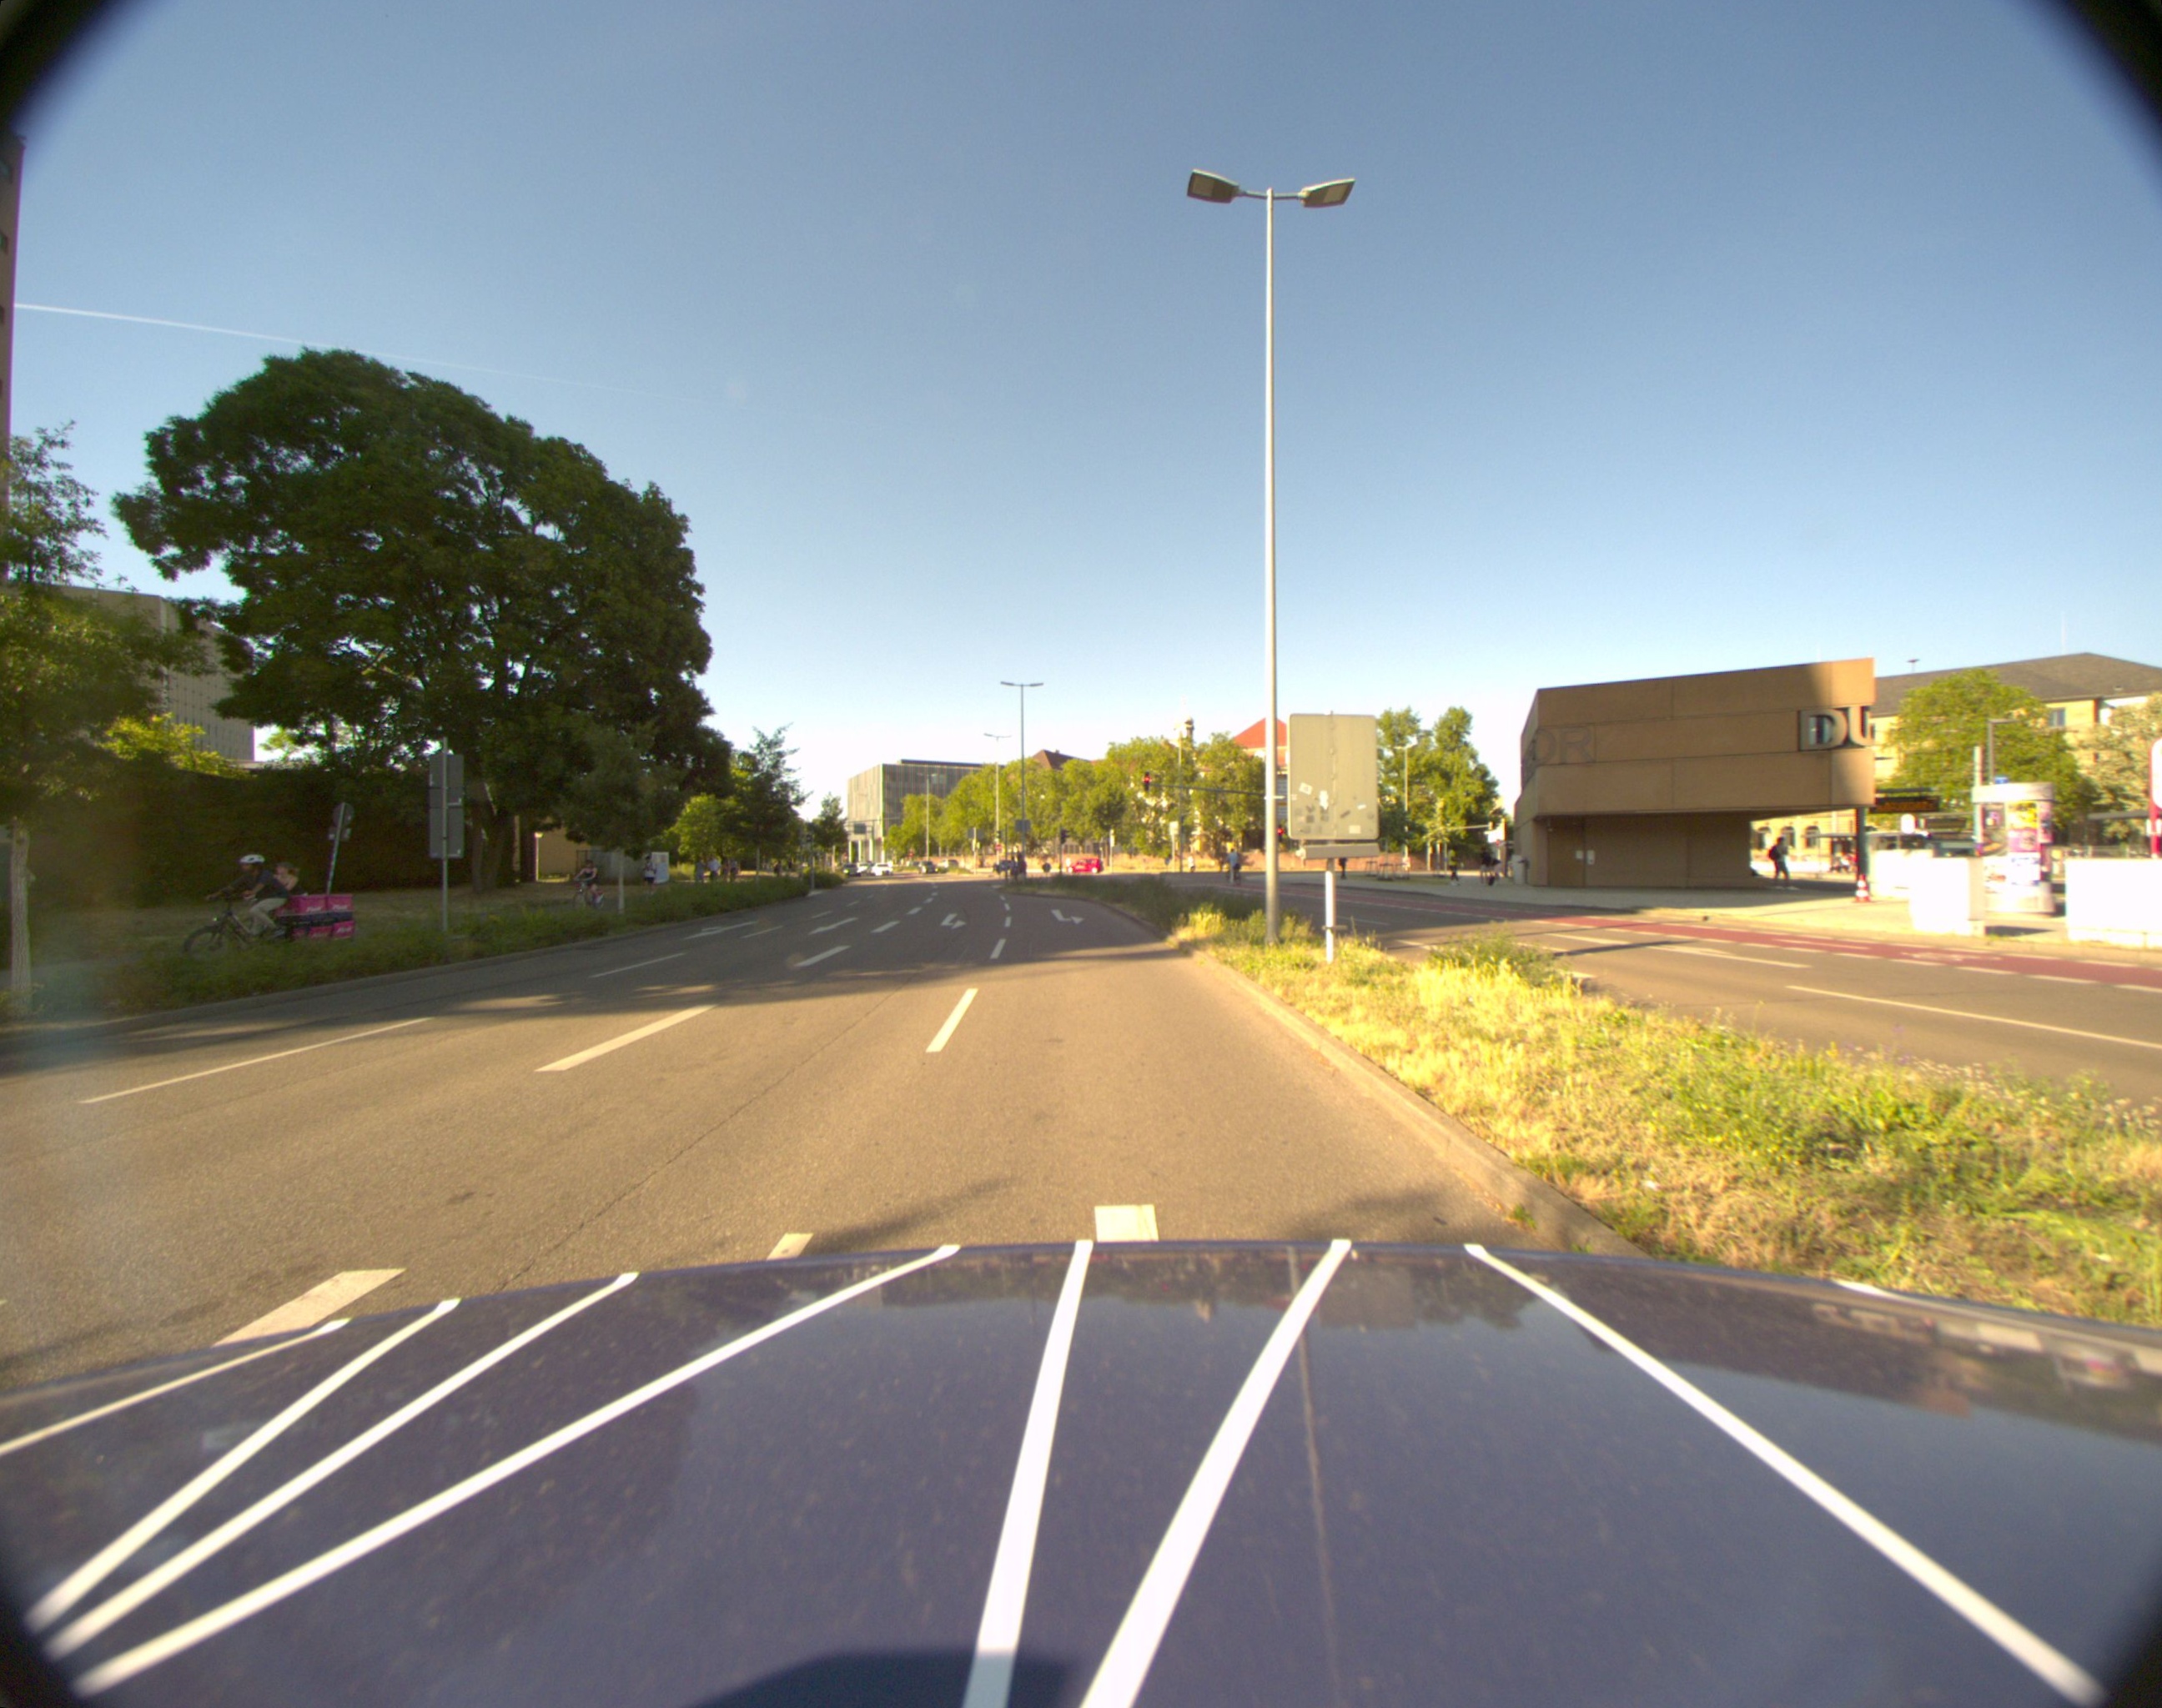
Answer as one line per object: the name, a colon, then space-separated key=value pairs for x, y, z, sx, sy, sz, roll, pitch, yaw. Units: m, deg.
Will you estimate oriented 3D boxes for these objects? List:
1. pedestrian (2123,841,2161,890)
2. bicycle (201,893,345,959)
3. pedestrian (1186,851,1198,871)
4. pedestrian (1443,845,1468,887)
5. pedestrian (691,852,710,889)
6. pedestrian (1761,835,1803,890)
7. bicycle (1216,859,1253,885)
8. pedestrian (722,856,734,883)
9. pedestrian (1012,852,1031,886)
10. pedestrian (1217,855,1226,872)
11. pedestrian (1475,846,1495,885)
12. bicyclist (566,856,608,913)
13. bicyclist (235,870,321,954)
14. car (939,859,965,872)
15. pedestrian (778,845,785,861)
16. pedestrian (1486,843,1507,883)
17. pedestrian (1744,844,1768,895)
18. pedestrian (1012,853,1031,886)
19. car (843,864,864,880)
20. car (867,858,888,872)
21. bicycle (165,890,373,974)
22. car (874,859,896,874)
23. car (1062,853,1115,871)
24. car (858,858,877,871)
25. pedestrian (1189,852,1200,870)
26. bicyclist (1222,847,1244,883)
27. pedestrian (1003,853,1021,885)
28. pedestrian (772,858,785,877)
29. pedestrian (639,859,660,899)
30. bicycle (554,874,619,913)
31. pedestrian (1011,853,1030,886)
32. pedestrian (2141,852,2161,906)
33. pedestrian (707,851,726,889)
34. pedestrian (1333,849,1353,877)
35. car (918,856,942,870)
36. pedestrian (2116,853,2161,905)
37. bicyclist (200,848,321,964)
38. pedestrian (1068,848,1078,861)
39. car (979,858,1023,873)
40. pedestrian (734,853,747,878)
pedestrian: x=42.992 y=0.459 z=30.679 sx=0.814 sy=1.970 sz=0.756 roll=0 pitch=0 yaw=29
bicycle: x=-15.285 y=1.334 z=14.456 sx=0.719 sy=1.114 sz=1.869 roll=-1 pitch=-2 yaw=2
pedestrian: x=10.803 y=0.676 z=73.887 sx=0.873 sy=1.884 sz=0.711 roll=0 pitch=4 yaw=-11
pedestrian: x=16.604 y=0.528 z=33.687 sx=0.718 sy=1.824 sz=0.639 roll=-1 pitch=-1 yaw=2
pedestrian: x=-19.179 y=0.838 z=38.288 sx=0.575 sy=1.858 sz=0.624 roll=0 pitch=1 yaw=27
pedestrian: x=25.880 y=0.309 z=28.067 sx=0.978 sy=1.970 sz=0.720 roll=0 pitch=0 yaw=27
bicycle: x=7.846 y=0.883 z=39.051 sx=0.743 sy=1.248 sz=2.552 roll=-1 pitch=1 yaw=-17
pedestrian: x=-20.626 y=0.896 z=44.429 sx=0.623 sy=1.565 sz=0.638 roll=0 pitch=1 yaw=-24
pedestrian: x=-3.070 y=0.772 z=39.082 sx=0.928 sy=1.731 sz=0.756 roll=-1 pitch=1 yaw=-9
pedestrian: x=13.630 y=0.926 z=73.750 sx=0.791 sy=1.644 sz=0.713 roll=1 pitch=4 yaw=17
pedestrian: x=17.561 y=0.491 z=33.041 sx=0.638 sy=1.678 sz=0.551 roll=-2 pitch=-1 yaw=14
bicyclist: x=-15.976 y=0.962 z=24.599 sx=0.717 sy=1.778 sz=0.849 roll=-2 pitch=1 yaw=-1
bicyclist: x=-15.291 y=1.079 z=14.489 sx=0.717 sy=1.539 sz=0.850 roll=-1 pitch=-1 yaw=1
car: x=-17.089 y=1.474 z=100.488 sx=2.198 sy=1.674 sz=4.597 roll=-1 pitch=0 yaw=-24
pedestrian: x=-32.341 y=-0.109 z=81.986 sx=0.713 sy=1.703 sz=0.732 roll=0 pitch=1 yaw=-24
pedestrian: x=18.373 y=0.418 z=33.645 sx=0.734 sy=1.720 sz=0.666 roll=-2 pitch=-1 yaw=26
pedestrian: x=26.911 y=0.617 z=30.301 sx=0.613 sy=2.001 sz=0.809 roll=-2 pitch=-1 yaw=38
pedestrian: x=-3.198 y=0.804 z=40.681 sx=0.928 sy=1.731 sz=0.787 roll=-1 pitch=1 yaw=-9
car: x=-23.722 y=1.836 z=79.145 sx=1.805 sy=1.510 sz=3.993 roll=0 pitch=0 yaw=-21
car: x=-23.737 y=1.284 z=88.504 sx=1.927 sy=1.510 sz=4.010 roll=0 pitch=0 yaw=-21
bicycle: x=-13.509 y=1.239 z=12.802 sx=0.780 sy=1.149 sz=2.580 roll=0 pitch=0 yaw=-2
car: x=-21.036 y=1.312 z=81.602 sx=1.805 sy=1.510 sz=4.423 roll=0 pitch=0 yaw=-21
car: x=0.737 y=0.755 z=73.365 sx=4.598 sy=1.576 sz=2.198 roll=-2 pitch=-2 yaw=15
car: x=-26.593 y=1.310 z=94.550 sx=1.927 sy=1.510 sz=4.010 roll=0 pitch=0 yaw=-21
pedestrian: x=10.917 y=0.649 z=73.077 sx=0.873 sy=1.665 sz=0.711 roll=0 pitch=4 yaw=-11
bicyclist: x=7.811 y=0.542 z=39.103 sx=0.743 sy=1.821 sz=1.012 roll=-1 pitch=1 yaw=-17
pedestrian: x=-3.813 y=0.796 z=41.853 sx=0.928 sy=1.731 sz=0.756 roll=-1 pitch=1 yaw=-9
pedestrian: x=-27.991 y=1.216 z=70.398 sx=1.020 sy=1.739 sz=0.848 roll=0 pitch=0 yaw=-30
pedestrian: x=-18.400 y=1.050 z=32.425 sx=0.623 sy=1.689 sz=0.629 roll=0 pitch=1 yaw=-16
bicycle: x=-15.960 y=1.238 z=24.588 sx=0.719 sy=1.115 sz=2.066 roll=-2 pitch=1 yaw=-1
pedestrian: x=-3.196 y=0.796 z=39.862 sx=0.928 sy=1.731 sz=0.756 roll=-1 pitch=1 yaw=-9
pedestrian: x=39.652 y=0.921 z=27.682 sx=0.978 sy=1.970 sz=0.720 roll=0 pitch=0 yaw=29
pedestrian: x=-18.376 y=0.795 z=38.332 sx=0.575 sy=1.858 sz=0.624 roll=0 pitch=1 yaw=27
pedestrian: x=15.994 y=0.538 z=46.417 sx=0.900 sy=1.675 sz=0.747 roll=-1 pitch=0 yaw=-9
car: x=-16.534 y=0.981 z=83.270 sx=1.927 sy=1.510 sz=4.010 roll=0 pitch=0 yaw=-21
pedestrian: x=40.705 y=0.937 z=29.107 sx=0.994 sy=1.970 sz=0.831 roll=0 pitch=0 yaw=29
bicyclist: x=-13.557 y=0.819 z=12.589 sx=0.779 sy=1.823 sz=1.094 roll=0 pitch=0 yaw=12
pedestrian: x=-0.964 y=0.052 z=90.004 sx=0.975 sy=1.527 sz=0.921 roll=-1 pitch=1 yaw=-24
car: x=-9.054 y=1.332 z=85.973 sx=4.594 sy=1.576 sz=2.200 roll=-3 pitch=-2 yaw=36
pedestrian: x=-22.886 y=0.754 z=51.097 sx=0.677 sy=1.694 sz=0.875 roll=-1 pitch=1 yaw=-29
